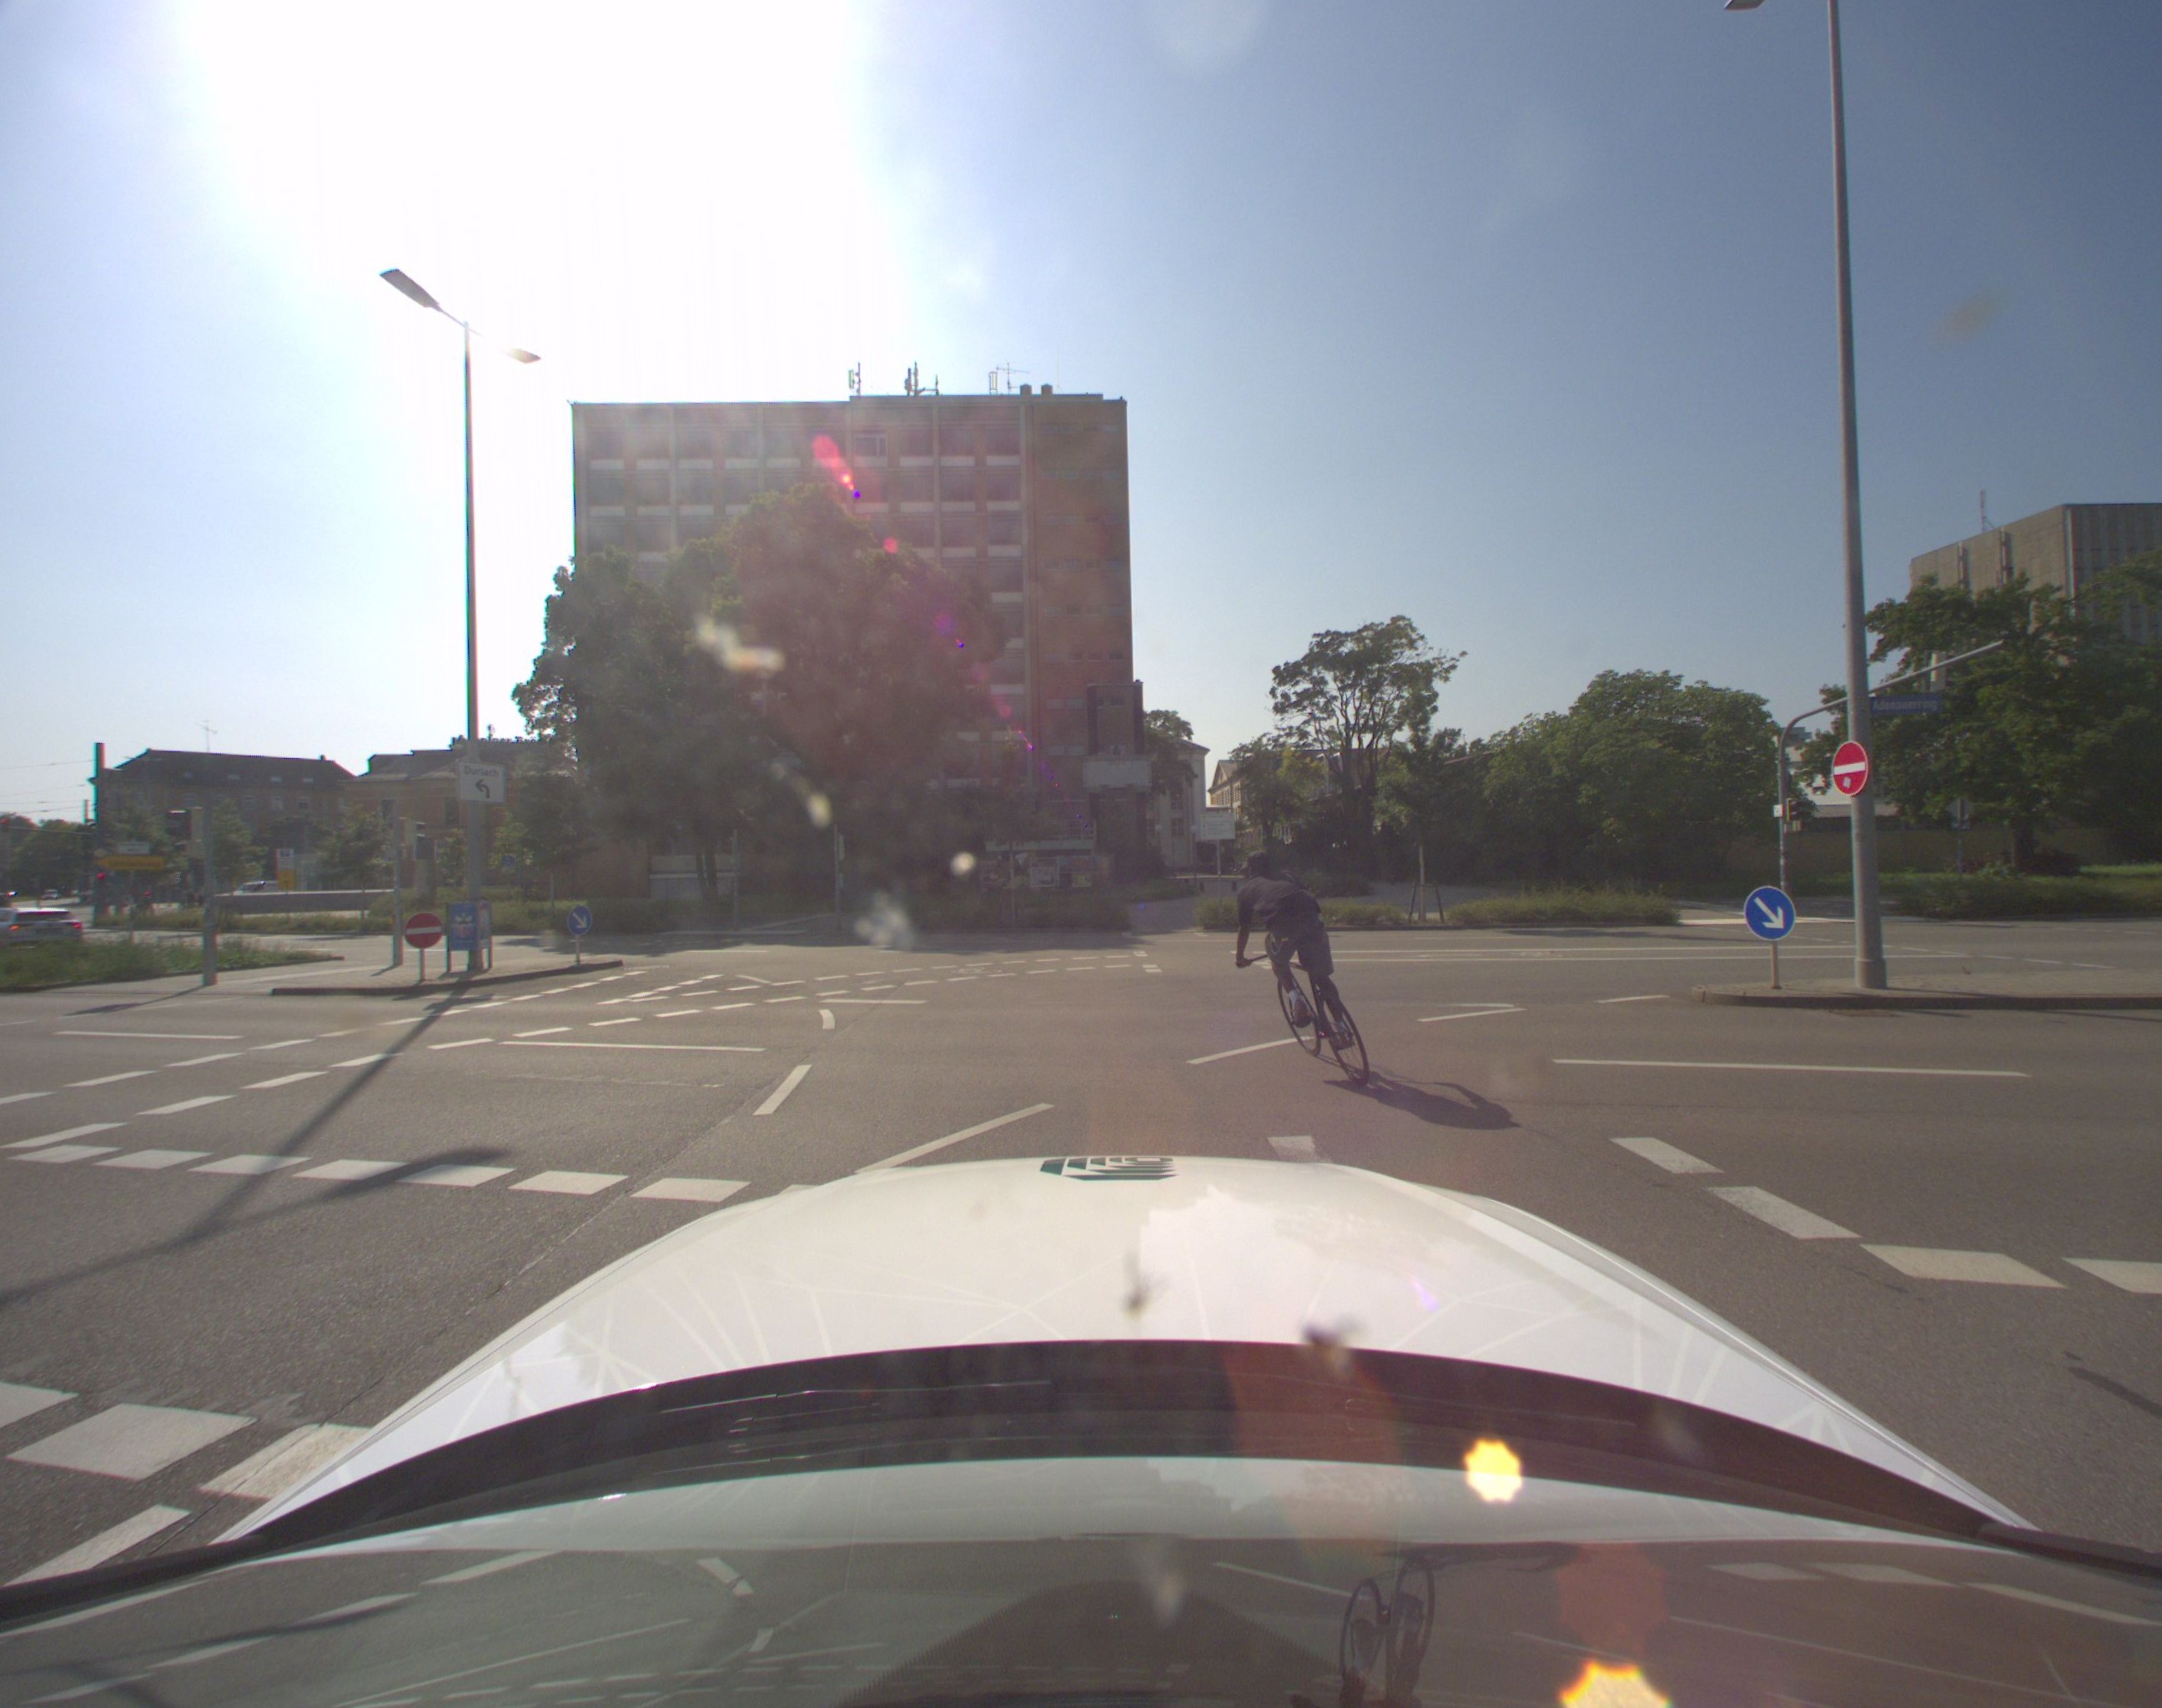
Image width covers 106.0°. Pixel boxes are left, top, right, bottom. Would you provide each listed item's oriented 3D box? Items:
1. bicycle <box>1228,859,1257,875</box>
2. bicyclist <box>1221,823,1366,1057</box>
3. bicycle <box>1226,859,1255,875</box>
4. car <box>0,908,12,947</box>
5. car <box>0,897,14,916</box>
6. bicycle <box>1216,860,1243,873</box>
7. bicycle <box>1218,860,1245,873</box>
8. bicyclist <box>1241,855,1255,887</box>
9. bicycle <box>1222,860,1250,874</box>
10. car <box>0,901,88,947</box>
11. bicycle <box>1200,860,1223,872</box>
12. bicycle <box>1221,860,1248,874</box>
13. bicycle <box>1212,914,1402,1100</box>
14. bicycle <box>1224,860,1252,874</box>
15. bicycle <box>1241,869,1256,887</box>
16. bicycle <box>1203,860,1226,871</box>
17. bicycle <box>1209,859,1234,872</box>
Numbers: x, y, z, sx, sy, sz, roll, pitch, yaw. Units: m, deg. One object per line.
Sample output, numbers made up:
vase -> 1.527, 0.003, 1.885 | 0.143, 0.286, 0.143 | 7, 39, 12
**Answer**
bicycle -> 13.710, 1.108, 69.166 | 2.415, 1.318, 0.721 | 0, -1, 4
bicyclist -> 1.541, 0.590, 6.082 | 0.769, 1.578, 0.990 | -2, -1, -1
bicycle -> 13.789, 1.120, 70.301 | 2.415, 1.318, 0.721 | 0, -1, 4
car -> -41.064, 2.749, 29.838 | 3.893, 1.403, 1.502 | -3, -2, 25
car -> -120.192, 5.829, 90.035 | 4.717, 2.014, 2.435 | -2, -1, 40
bicycle -> 14.202, 1.178, 77.960 | 2.415, 1.229, 0.721 | 0, -1, 4
bicycle -> 14.218, 1.207, 76.903 | 2.415, 1.239, 0.721 | 0, -1, 4
bicyclist -> 8.552, 0.882, 41.748 | 0.646, 1.601, 0.922 | -2, -1, 9
bicycle -> 14.106, 1.192, 74.110 | 2.415, 1.223, 0.721 | 0, -1, 4
car -> -35.178, 2.332, 27.208 | 3.589, 1.387, 1.700 | -3, -2, 25
bicycle -> 14.211, 1.296, 88.557 | 2.415, 1.280, 0.721 | 0, -1, 4
bicycle -> 14.292, 1.214, 75.901 | 2.415, 1.234, 0.721 | 0, -1, 4
bicycle -> 1.564, 1.016, 6.075 | 0.769, 0.976, 2.149 | -2, -1, -1
bicycle -> 14.022, 1.171, 72.836 | 2.415, 1.223, 0.721 | 0, -1, 4
bicycle -> 8.577, 1.211, 41.740 | 0.669, 0.879, 1.404 | -2, -1, 8
bicycle -> 14.313, 1.229, 87.451 | 2.415, 1.262, 0.721 | 0, -1, 4
bicycle -> 13.896, 1.169, 80.670 | 2.415, 1.282, 0.721 | 0, -1, 4
